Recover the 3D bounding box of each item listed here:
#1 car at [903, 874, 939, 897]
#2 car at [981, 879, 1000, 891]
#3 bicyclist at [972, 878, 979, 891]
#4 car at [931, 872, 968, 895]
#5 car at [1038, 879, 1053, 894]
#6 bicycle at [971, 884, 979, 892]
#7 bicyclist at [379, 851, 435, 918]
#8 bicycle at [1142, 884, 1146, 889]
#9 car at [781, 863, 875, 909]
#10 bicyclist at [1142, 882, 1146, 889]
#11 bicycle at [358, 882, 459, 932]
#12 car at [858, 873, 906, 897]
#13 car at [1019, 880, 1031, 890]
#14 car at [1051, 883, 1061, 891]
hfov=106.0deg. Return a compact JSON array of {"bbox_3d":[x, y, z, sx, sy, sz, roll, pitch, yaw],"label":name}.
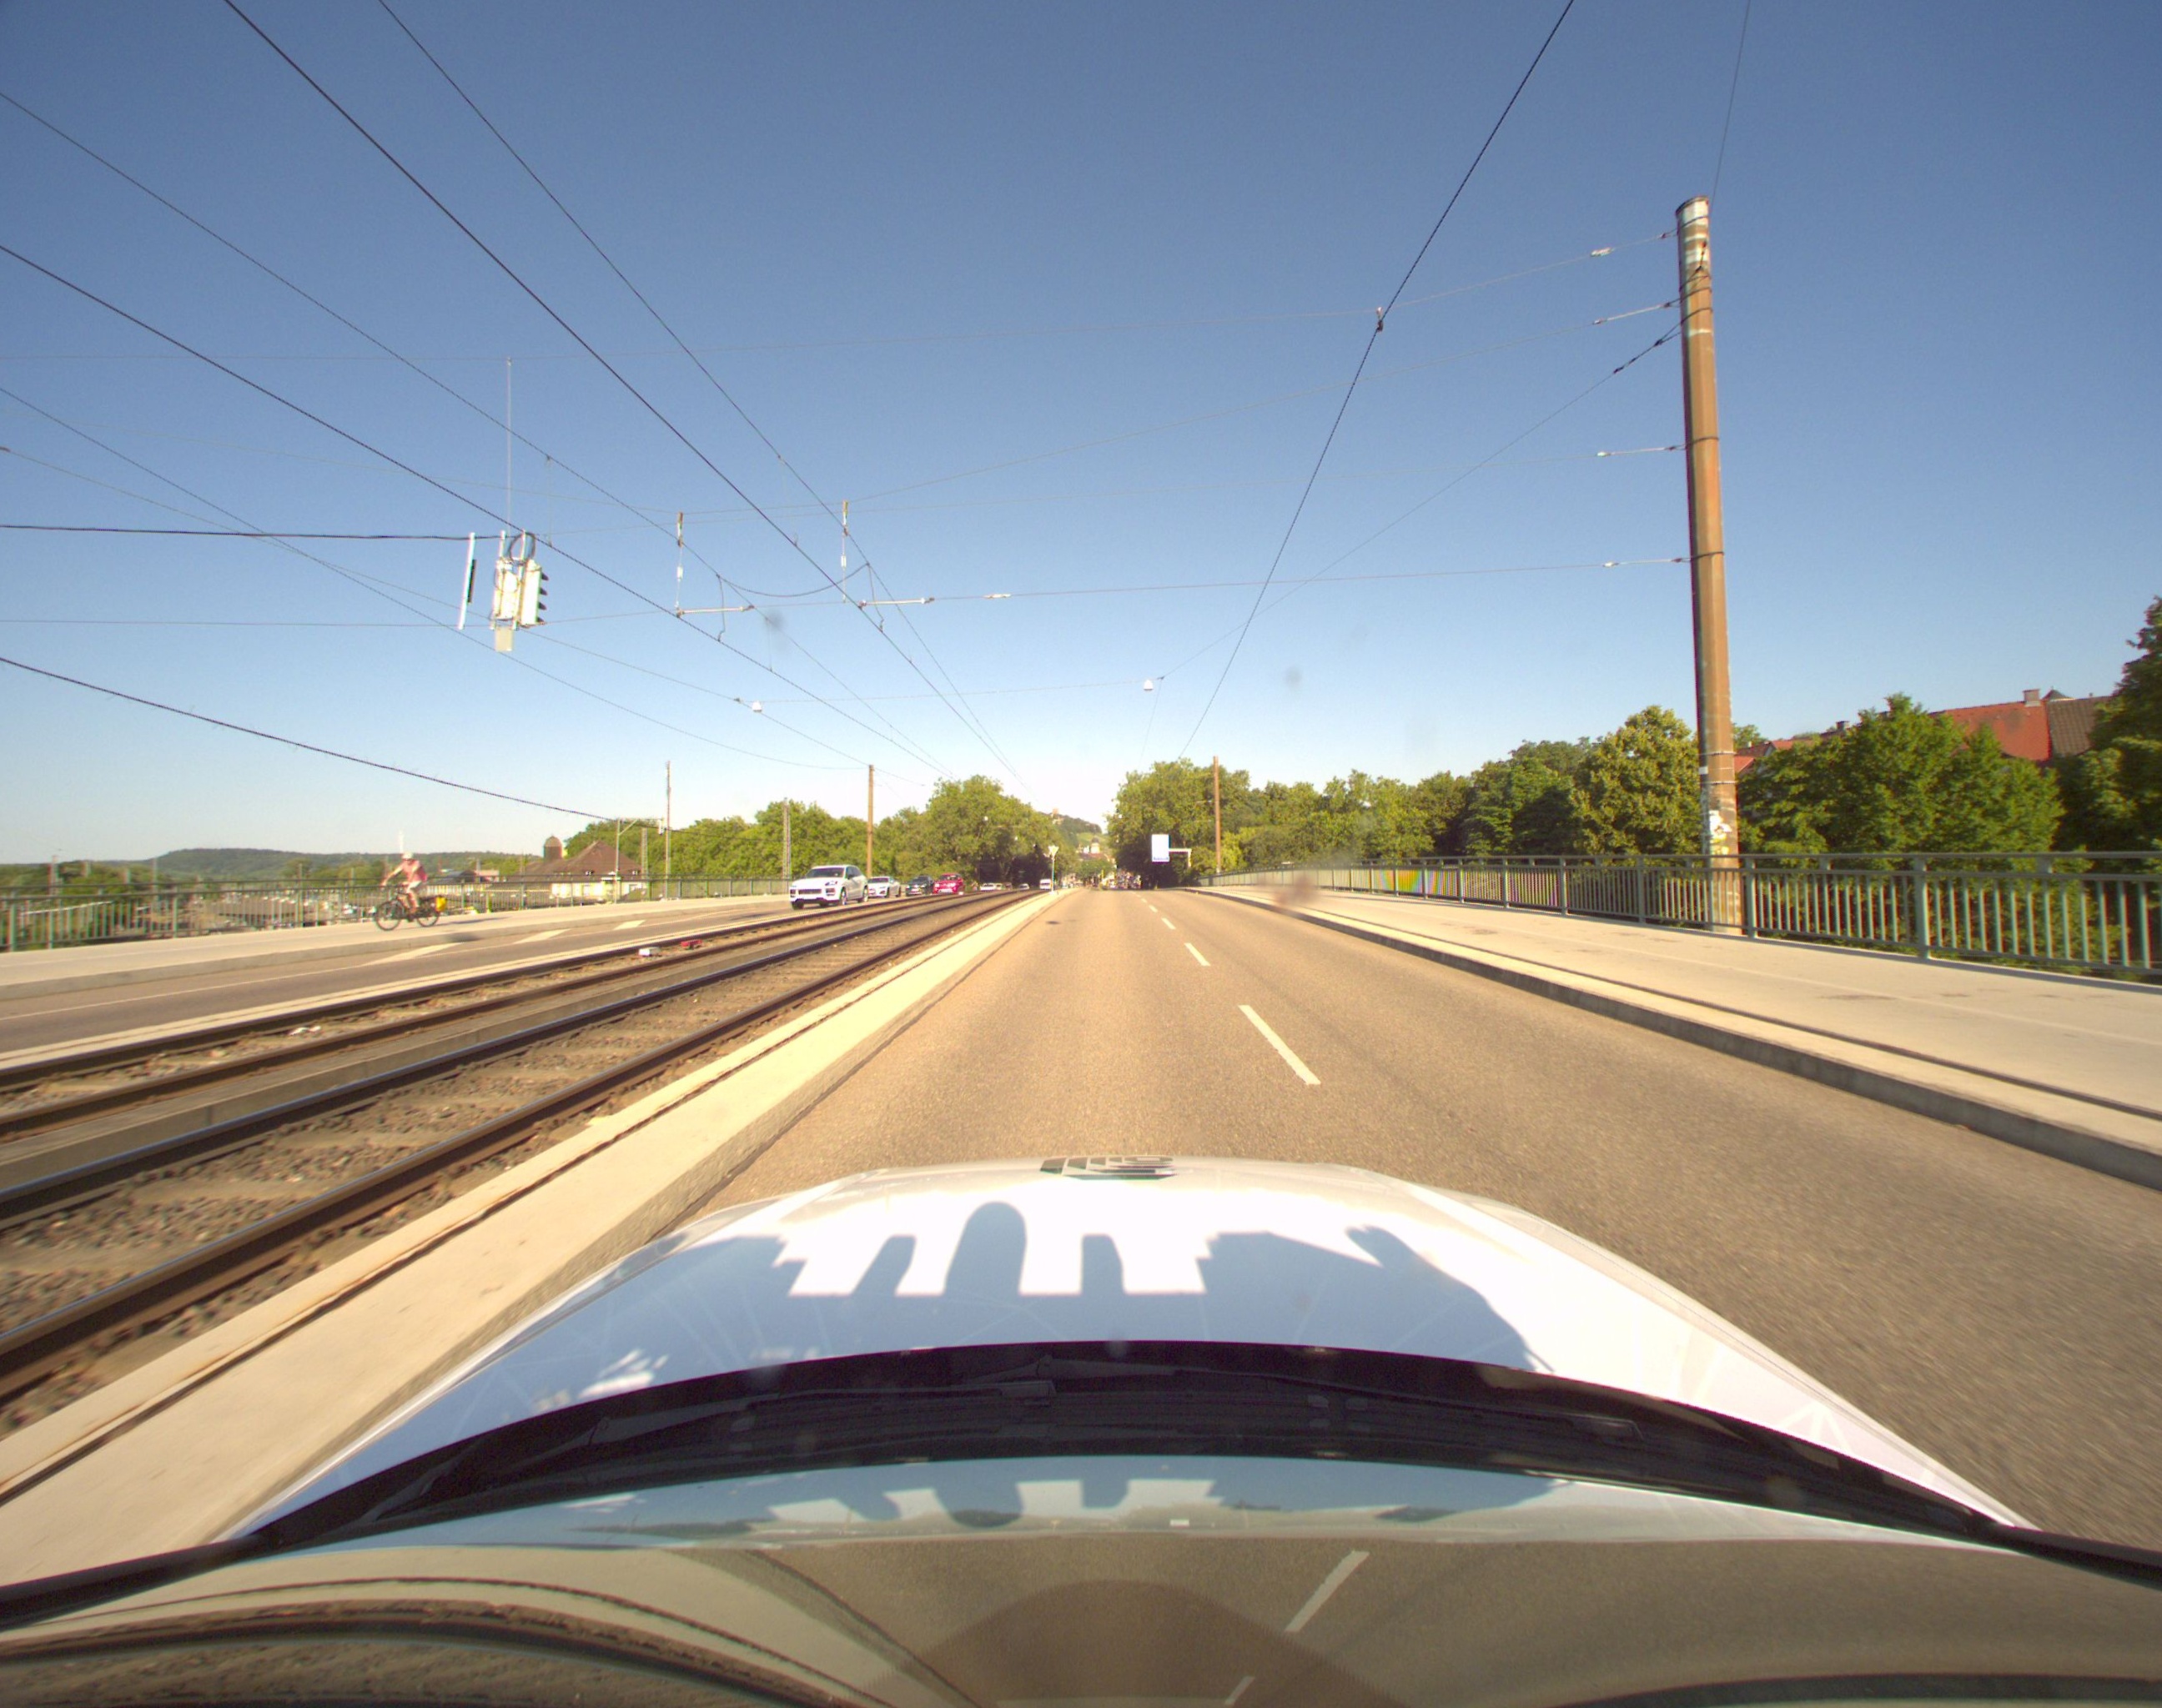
[{"bbox_3d":[-12.517,2.442,63.841,1.773,1.650,4.448,-1,-1,2],"label":"car"},{"bbox_3d":[-11.148,3.818,100.562,1.735,1.464,4.955,-1,-2,1],"label":"car"},{"bbox_3d":[-14.060,4.058,108.474,0.677,1.627,0.890,1,-2,2],"label":"bicyclist"},{"bbox_3d":[-9.138,2.095,56.907,1.801,1.520,4.000,0,-3,2],"label":"car"},{"bbox_3d":[-6.682,6.049,152.280,2.077,2.593,6.046,0,-2,4],"label":"car"},{"bbox_3d":[-14.067,4.519,108.422,0.677,1.098,2.101,1,-2,2],"label":"bicycle"},{"bbox_3d":[-16.842,0.741,20.370,0.623,1.633,0.936,-1,-1,1],"label":"bicyclist"},{"bbox_3d":[15.638,8.025,202.485,0.883,1.321,2.640,-2,-2,2],"label":"bicycle"},{"bbox_3d":[-9.998,1.220,32.645,1.993,1.637,5.092,-1,-1,2],"label":"car"},{"bbox_3d":[15.637,7.775,202.594,0.883,1.639,1.165,-2,-3,2],"label":"bicyclist"},{"bbox_3d":[-16.831,1.304,20.470,0.623,1.122,2.260,-1,-1,2],"label":"bicycle"},{"bbox_3d":[-12.754,1.941,52.446,1.677,1.356,4.922,-1,-1,2],"label":"car"},{"bbox_3d":[-10.034,5.494,145.269,1.736,1.743,4.512,-4,-2,-1],"label":"car"},{"bbox_3d":[-5.644,7.406,182.432,1.865,1.665,4.599,3,-2,3],"label":"car"}]
